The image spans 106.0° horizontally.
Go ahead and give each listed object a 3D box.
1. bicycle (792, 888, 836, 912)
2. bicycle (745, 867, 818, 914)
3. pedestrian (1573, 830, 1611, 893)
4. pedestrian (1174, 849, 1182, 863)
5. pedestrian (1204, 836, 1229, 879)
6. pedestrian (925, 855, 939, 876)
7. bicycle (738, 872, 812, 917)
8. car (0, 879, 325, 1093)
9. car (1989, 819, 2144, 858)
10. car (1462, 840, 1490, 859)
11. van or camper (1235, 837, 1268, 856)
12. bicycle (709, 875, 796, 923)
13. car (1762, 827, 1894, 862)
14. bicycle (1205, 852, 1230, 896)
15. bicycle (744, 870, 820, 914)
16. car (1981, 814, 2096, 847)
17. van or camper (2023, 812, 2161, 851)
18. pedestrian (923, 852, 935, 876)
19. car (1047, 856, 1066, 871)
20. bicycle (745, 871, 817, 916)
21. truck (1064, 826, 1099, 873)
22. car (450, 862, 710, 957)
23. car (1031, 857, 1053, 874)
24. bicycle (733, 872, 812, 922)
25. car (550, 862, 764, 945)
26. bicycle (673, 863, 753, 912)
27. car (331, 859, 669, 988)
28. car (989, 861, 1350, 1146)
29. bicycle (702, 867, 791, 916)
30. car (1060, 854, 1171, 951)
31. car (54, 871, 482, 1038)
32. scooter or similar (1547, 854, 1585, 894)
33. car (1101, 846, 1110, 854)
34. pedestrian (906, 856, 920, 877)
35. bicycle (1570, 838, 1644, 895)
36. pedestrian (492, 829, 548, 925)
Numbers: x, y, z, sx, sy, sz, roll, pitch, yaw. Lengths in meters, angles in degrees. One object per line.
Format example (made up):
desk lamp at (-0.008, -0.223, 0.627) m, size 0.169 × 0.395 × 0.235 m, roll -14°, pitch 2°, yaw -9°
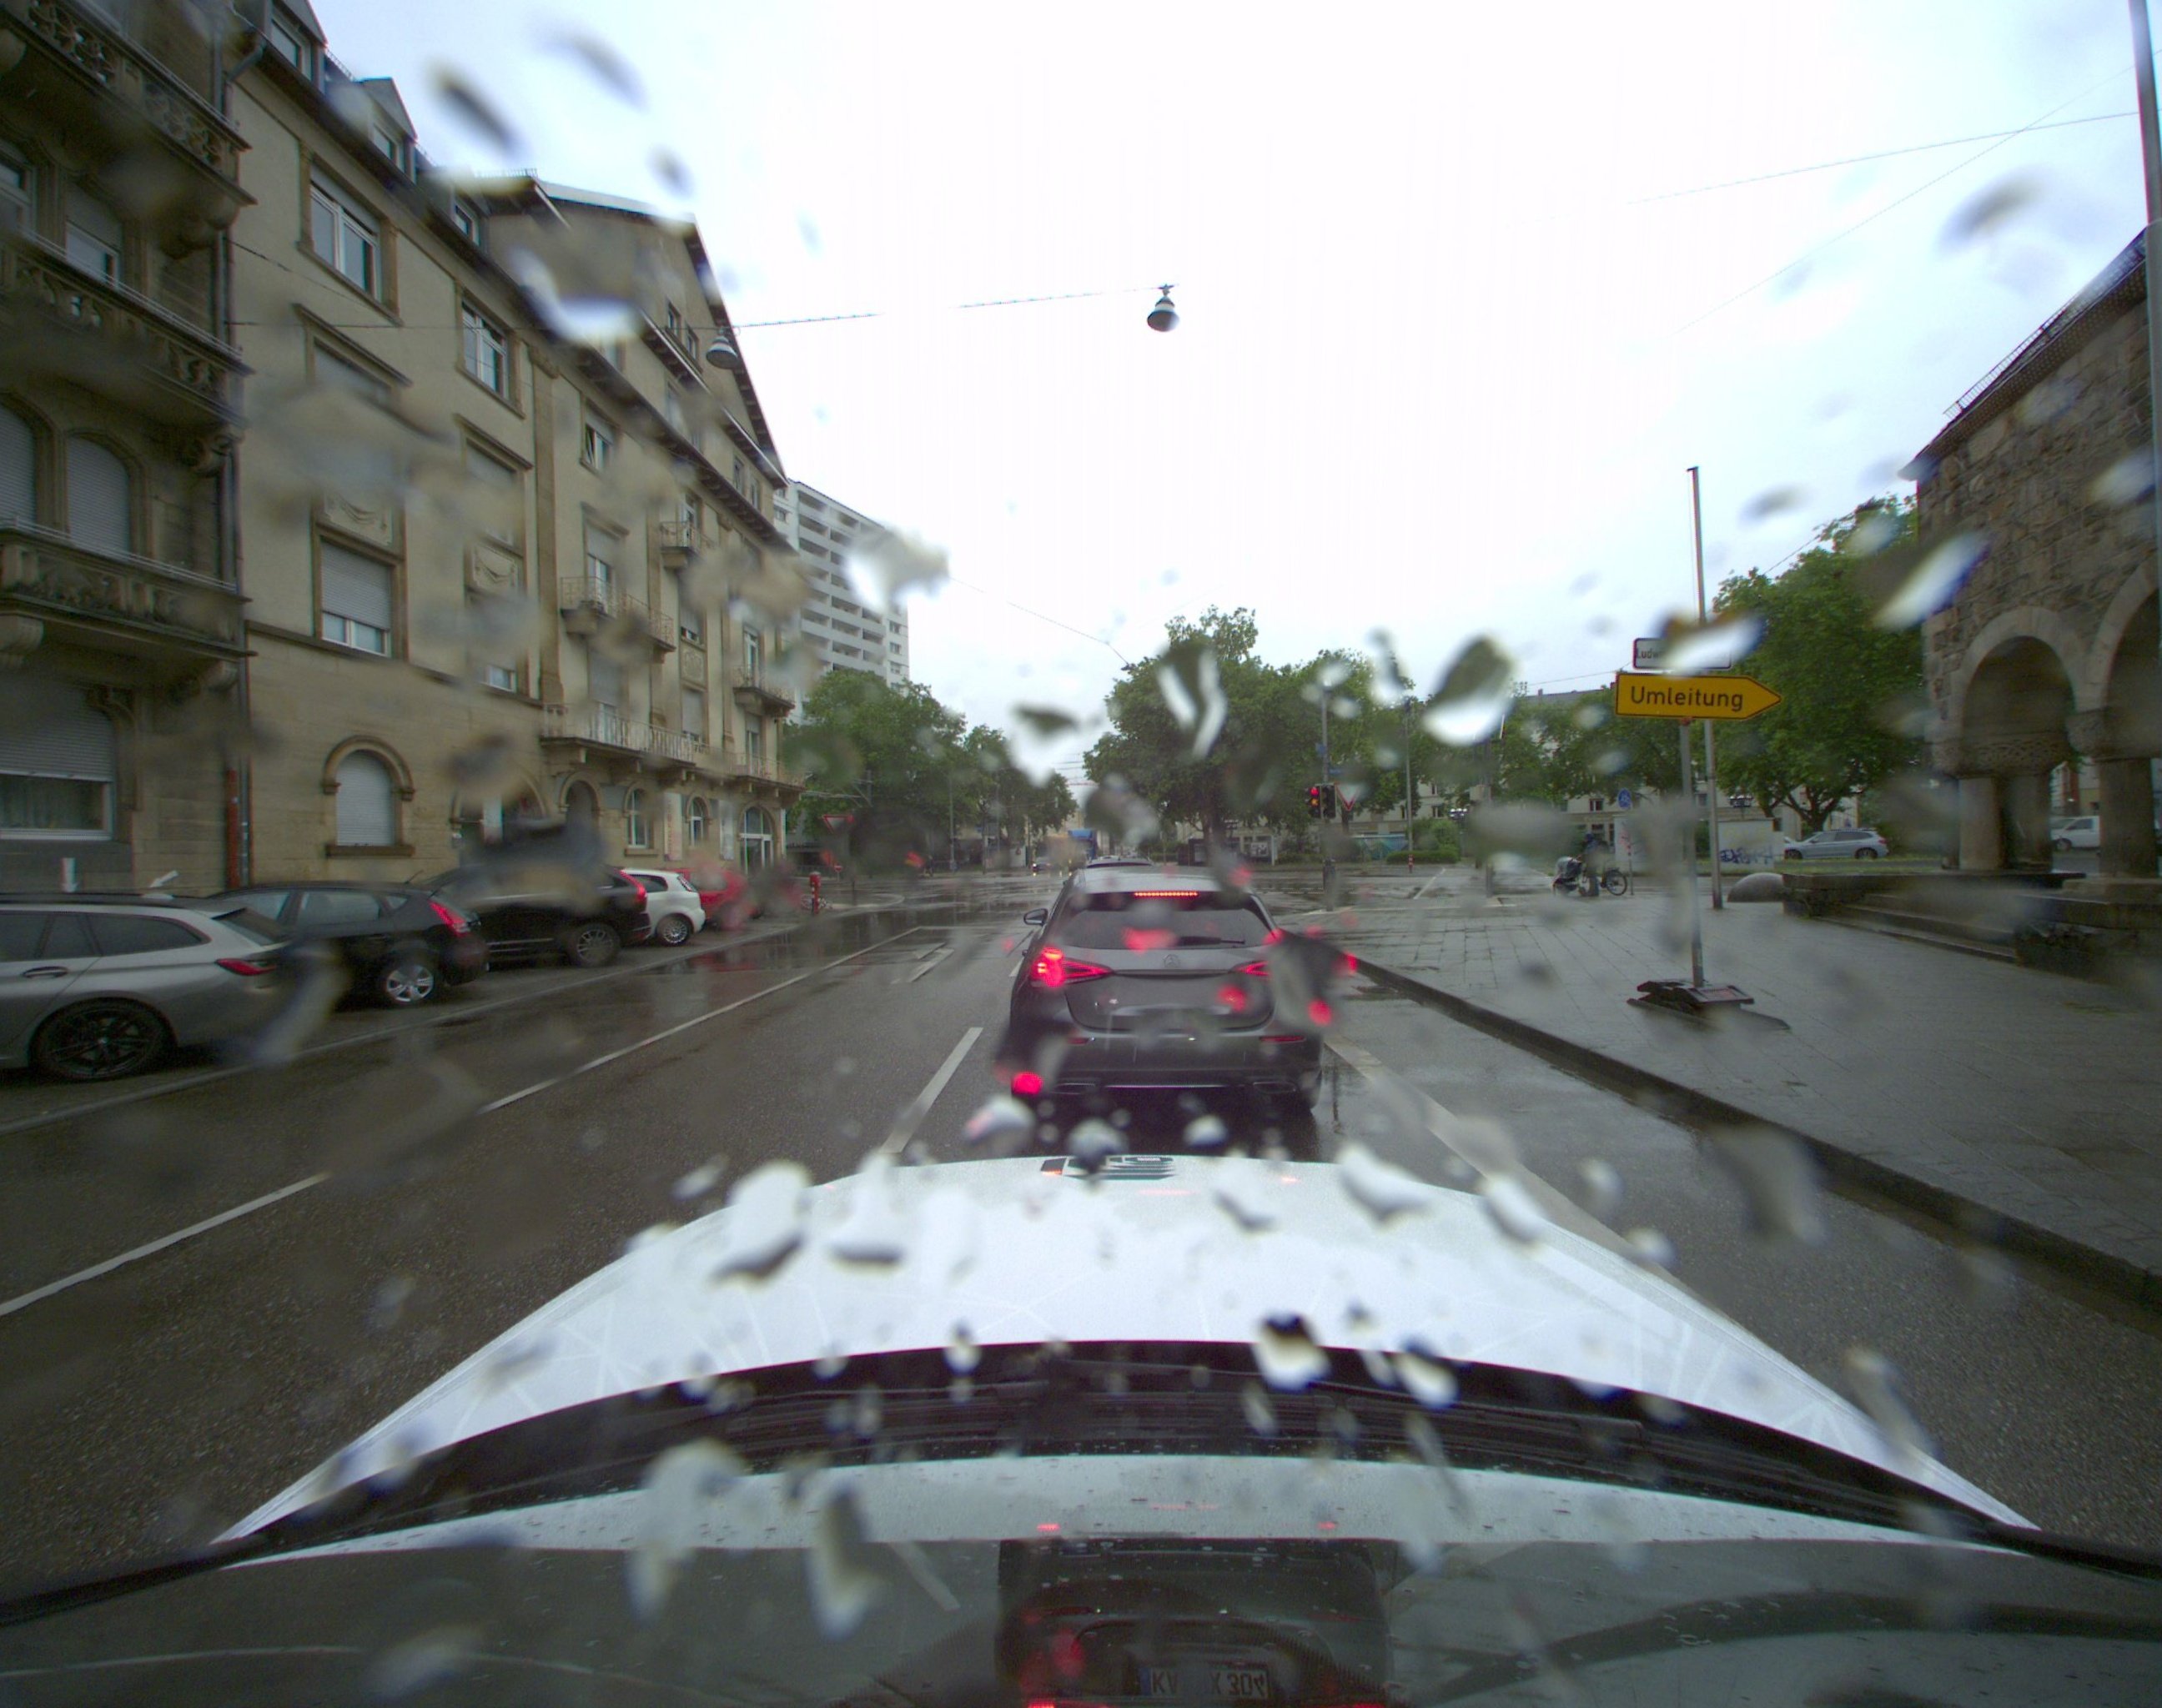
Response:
bicycle at (-8.428, 1.436, 25.677) m, size 1.045 × 0.663 × 1.464 m, roll 1°, pitch -1°, yaw -29°
bicycle at (-8.863, 1.079, 24.131) m, size 1.967 × 1.330 × 0.438 m, roll -2°, pitch 0°, yaw 3°
pedestrian at (13.798, 0.202, 22.005) m, size 0.600 × 1.663 × 0.690 m, roll -2°, pitch 0°, yaw 5°
pedestrian at (11.363, 0.258, 95.486) m, size 0.709 × 1.669 × 0.669 m, roll -2°, pitch -1°, yaw 32°
pedestrian at (4.560, 0.105, 27.503) m, size 0.740 × 1.398 × 1.049 m, roll -3°, pitch 0°, yaw 8°
pedestrian at (-12.279, 0.931, 67.151) m, size 0.828 × 1.648 × 0.759 m, roll -3°, pitch 0°, yaw 17°
bicycle at (-8.451, 1.113, 22.511) m, size 1.804 × 1.184 × 0.475 m, roll 2°, pitch 0°, yaw 0°
car at (-8.777, 1.044, 6.811) m, size 3.446 × 1.544 × 1.682 m, roll 0°, pitch 0°, yaw -38°
car at (45.051, -0.692, 37.359) m, size 4.127 × 1.599 × 1.789 m, roll -2°, pitch 0°, yaw 24°
car at (35.100, -0.397, 72.473) m, size 1.650 × 1.521 × 3.695 m, roll -2°, pitch -1°, yaw 17°
van or camper at (21.220, -0.881, 101.010) m, size 2.373 × 2.231 × 5.463 m, roll -2°, pitch -1°, yaw 29°
bicycle at (-10.185, 1.391, 25.308) m, size 2.335 × 1.346 × 0.639 m, roll -3°, pitch 0°, yaw -4°
car at (37.334, -0.458, 40.856) m, size 4.499 × 1.599 × 1.802 m, roll -2°, pitch 0°, yaw 24°
bicycle at (4.594, 0.631, 27.546) m, size 0.745 × 1.377 × 2.714 m, roll -3°, pitch 0°, yaw 9°
bicycle at (-8.630, 1.098, 23.523) m, size 1.974 × 1.185 × 0.475 m, roll 2°, pitch -1°, yaw -2°
car at (58.419, -1.425, 49.777) m, size 4.210 × 1.778 × 1.748 m, roll -2°, pitch 0°, yaw 22°
van or camper at (55.910, -1.220, 45.004) m, size 4.615 × 1.914 × 2.011 m, roll -2°, pitch 0°, yaw 21°
pedestrian at (-12.084, 0.793, 64.657) m, size 0.683 × 1.838 × 0.632 m, roll -2°, pitch -1°, yaw -40°
car at (-2.626, 1.000, 87.817) m, size 1.720 × 1.546 × 4.341 m, roll -2°, pitch 0°, yaw 1°
bicycle at (-8.467, 1.110, 23.033) m, size 1.804 × 1.184 × 0.468 m, roll 2°, pitch 0°, yaw -1°
truck at (0.158, -0.361, 76.942) m, size 2.835 × 4.025 × 10.319 m, roll -2°, pitch 0°, yaw 1°
car at (-9.342, 0.931, 15.334) m, size 4.013 × 1.533 × 1.685 m, roll 0°, pitch 0°, yaw -38°
car at (-3.596, 1.048, 76.038) m, size 1.737 × 1.546 × 3.780 m, roll -2°, pitch 0°, yaw 1°
bicycle at (-8.114, 1.116, 21.440) m, size 1.800 × 1.184 × 0.601 m, roll 2°, pitch 0°, yaw 7°
car at (-9.499, 1.036, 18.377) m, size 4.018 × 1.508 × 1.783 m, roll -2°, pitch 0°, yaw -36°
bicycle at (-10.941, 0.993, 24.263) m, size 2.052 × 1.346 × 0.584 m, roll -2°, pitch 0°, yaw -4°
car at (-8.956, 0.937, 12.867) m, size 4.104 × 1.692 × 1.744 m, roll 0°, pitch 0°, yaw -38°
car at (0.493, 0.762, 5.808) m, size 1.784 × 1.372 × 3.508 m, roll 0°, pitch 0°, yaw 2°
bicycle at (-10.100, 1.127, 24.645) m, size 2.335 × 1.346 × 0.639 m, roll -2°, pitch 0°, yaw -4°
car at (0.573, 0.728, 14.164) m, size 1.601 × 1.372 × 4.002 m, roll -3°, pitch 0°, yaw 2°
car at (-9.087, 1.006, 9.547) m, size 3.326 × 1.525 × 1.682 m, roll 0°, pitch 0°, yaw -37°
scooter or similar at (13.278, 0.542, 22.305) m, size 0.511 × 1.048 × 0.925 m, roll -2°, pitch 0°, yaw 4°
car at (6.596, -1.091, 218.758) m, size 1.880 × 1.836 × 4.006 m, roll -2°, pitch -1°, yaw 6°
pedestrian at (-13.727, 1.024, 66.553) m, size 0.785 × 1.648 × 0.820 m, roll -3°, pitch 0°, yaw 17°
bicycle at (14.214, 0.316, 22.068) m, size 0.531 × 1.466 × 1.935 m, roll -2°, pitch 0°, yaw -8°
pedestrian at (-14.001, 0.572, 20.321) m, size 0.838 × 2.340 × 0.768 m, roll -2°, pitch 0°, yaw 24°
